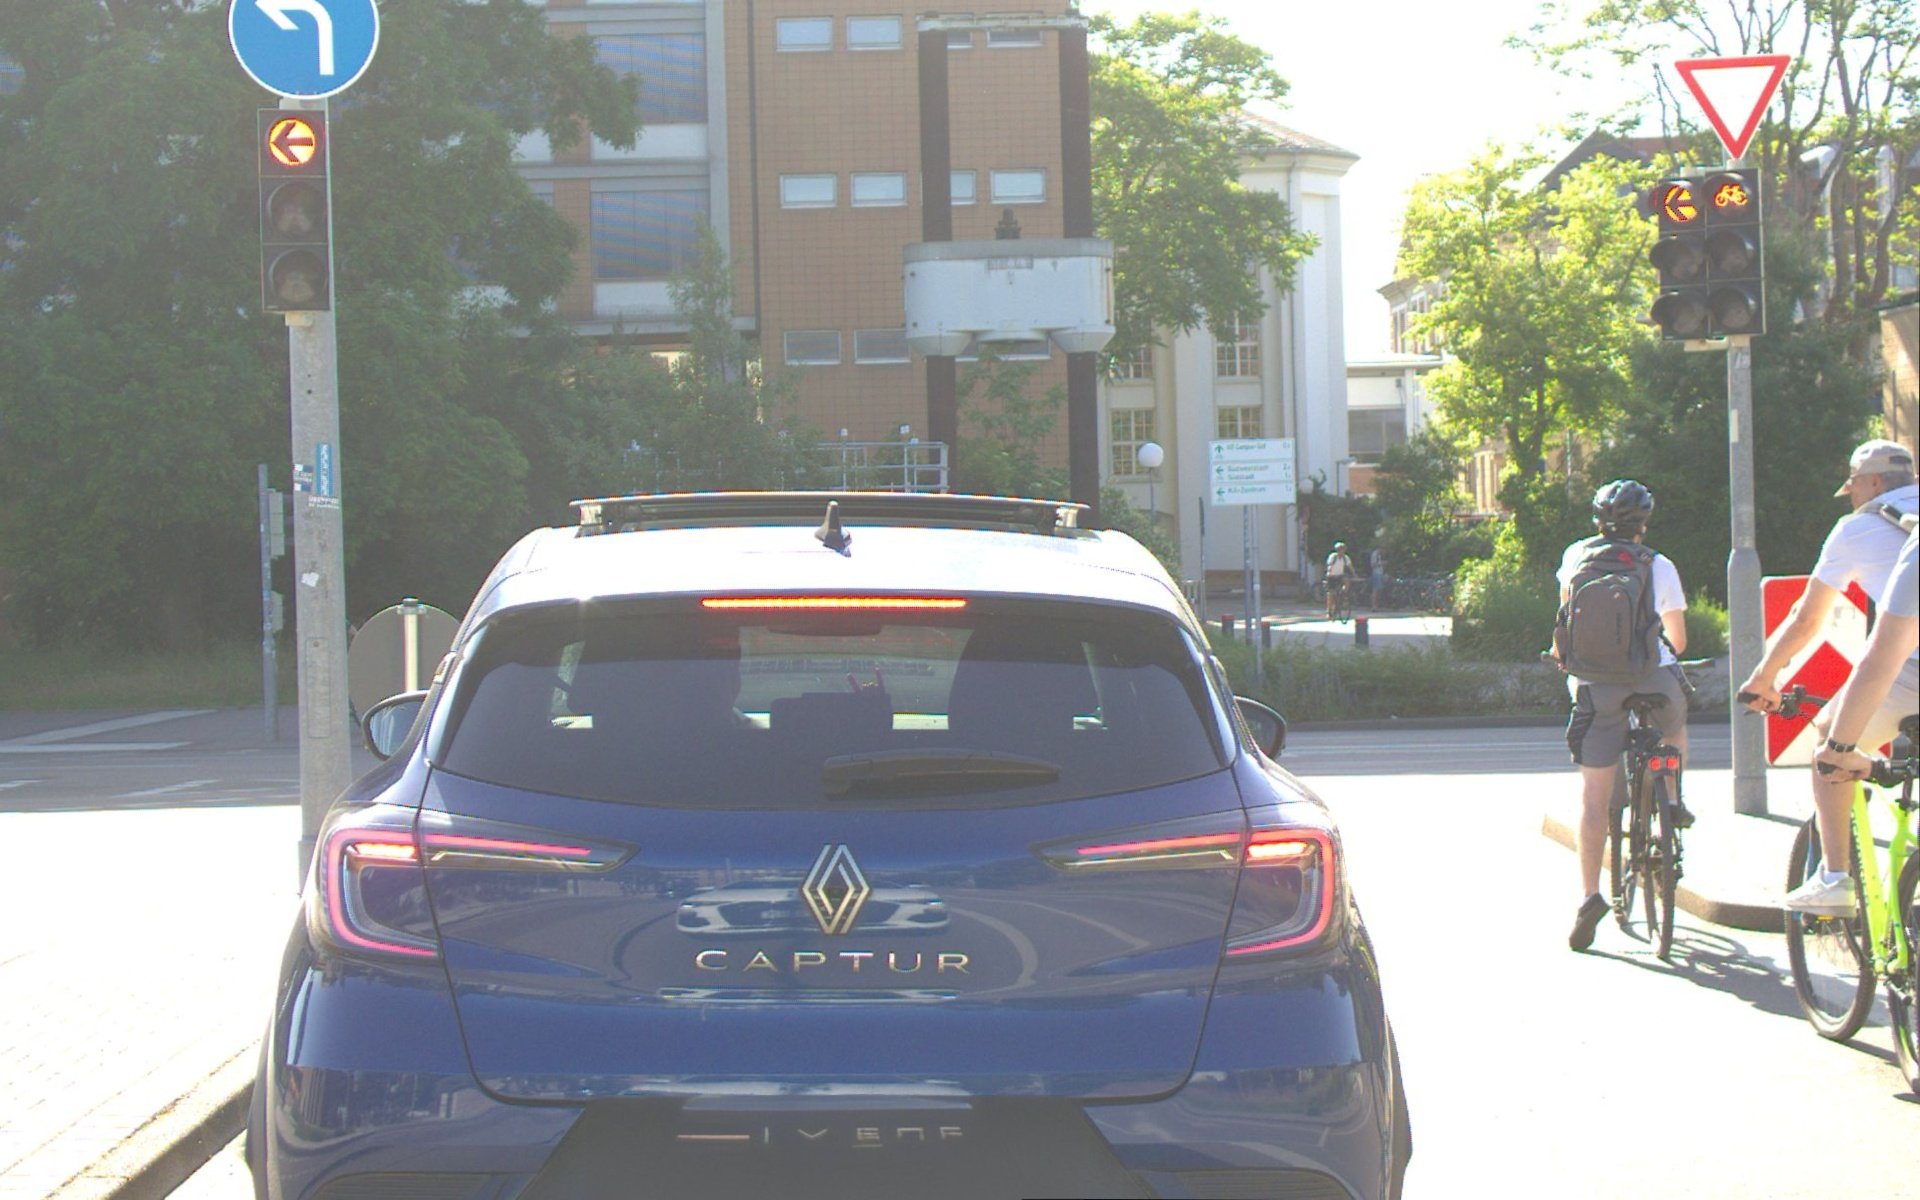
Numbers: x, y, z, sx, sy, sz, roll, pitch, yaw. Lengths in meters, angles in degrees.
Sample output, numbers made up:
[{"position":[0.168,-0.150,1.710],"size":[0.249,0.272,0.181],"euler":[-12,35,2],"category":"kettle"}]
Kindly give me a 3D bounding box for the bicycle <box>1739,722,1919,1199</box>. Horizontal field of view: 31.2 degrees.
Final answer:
[{"position":[2.225,0.847,7.286],"size":[0.689,1.085,1.922],"euler":[0,1,-1],"category":"bicycle"}]

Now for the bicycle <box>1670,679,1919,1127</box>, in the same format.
[{"position":[2.581,0.801,9.811],"size":[0.689,1.085,1.922],"euler":[0,1,-1],"category":"bicycle"}]

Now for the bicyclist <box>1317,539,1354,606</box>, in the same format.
[{"position":[8.419,-0.610,77.045],"size":[0.694,1.476,0.717],"euler":[-1,1,-2],"category":"bicyclist"}]

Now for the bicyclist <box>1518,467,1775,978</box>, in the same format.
[{"position":[2.492,0.420,12.585],"size":[0.699,1.785,1.142],"euler":[0,1,-1],"category":"bicyclist"}]

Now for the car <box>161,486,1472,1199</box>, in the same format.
[{"position":[-0.273,0.611,6.658],"size":[1.788,1.580,3.915],"euler":[0,1,-2],"category":"car"}]

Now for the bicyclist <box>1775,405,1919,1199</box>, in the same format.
[{"position":[2.224,0.501,7.345],"size":[0.683,1.785,1.142],"euler":[0,1,-1],"category":"bicyclist"}]

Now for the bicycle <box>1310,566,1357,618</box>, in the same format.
[{"position":[8.408,-0.188,77.407],"size":[0.694,1.136,2.441],"euler":[-1,1,-2],"category":"bicycle"}]

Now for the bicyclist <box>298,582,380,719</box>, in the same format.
[{"position":[-7.907,0.634,43.805],"size":[0.755,1.710,0.998],"euler":[-1,1,5],"category":"bicyclist"}]

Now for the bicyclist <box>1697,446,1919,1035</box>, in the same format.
[{"position":[2.579,0.373,9.845],"size":[0.678,1.589,1.142],"euler":[0,1,-1],"category":"bicyclist"}]

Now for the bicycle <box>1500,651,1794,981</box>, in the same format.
[{"position":[2.522,0.759,12.823],"size":[0.689,1.085,1.922],"euler":[0,1,-1],"category":"bicycle"}]

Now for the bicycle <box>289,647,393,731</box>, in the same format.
[{"position":[-7.886,1.121,43.916],"size":[0.755,0.981,2.093],"euler":[-1,1,5],"category":"bicycle"}]
